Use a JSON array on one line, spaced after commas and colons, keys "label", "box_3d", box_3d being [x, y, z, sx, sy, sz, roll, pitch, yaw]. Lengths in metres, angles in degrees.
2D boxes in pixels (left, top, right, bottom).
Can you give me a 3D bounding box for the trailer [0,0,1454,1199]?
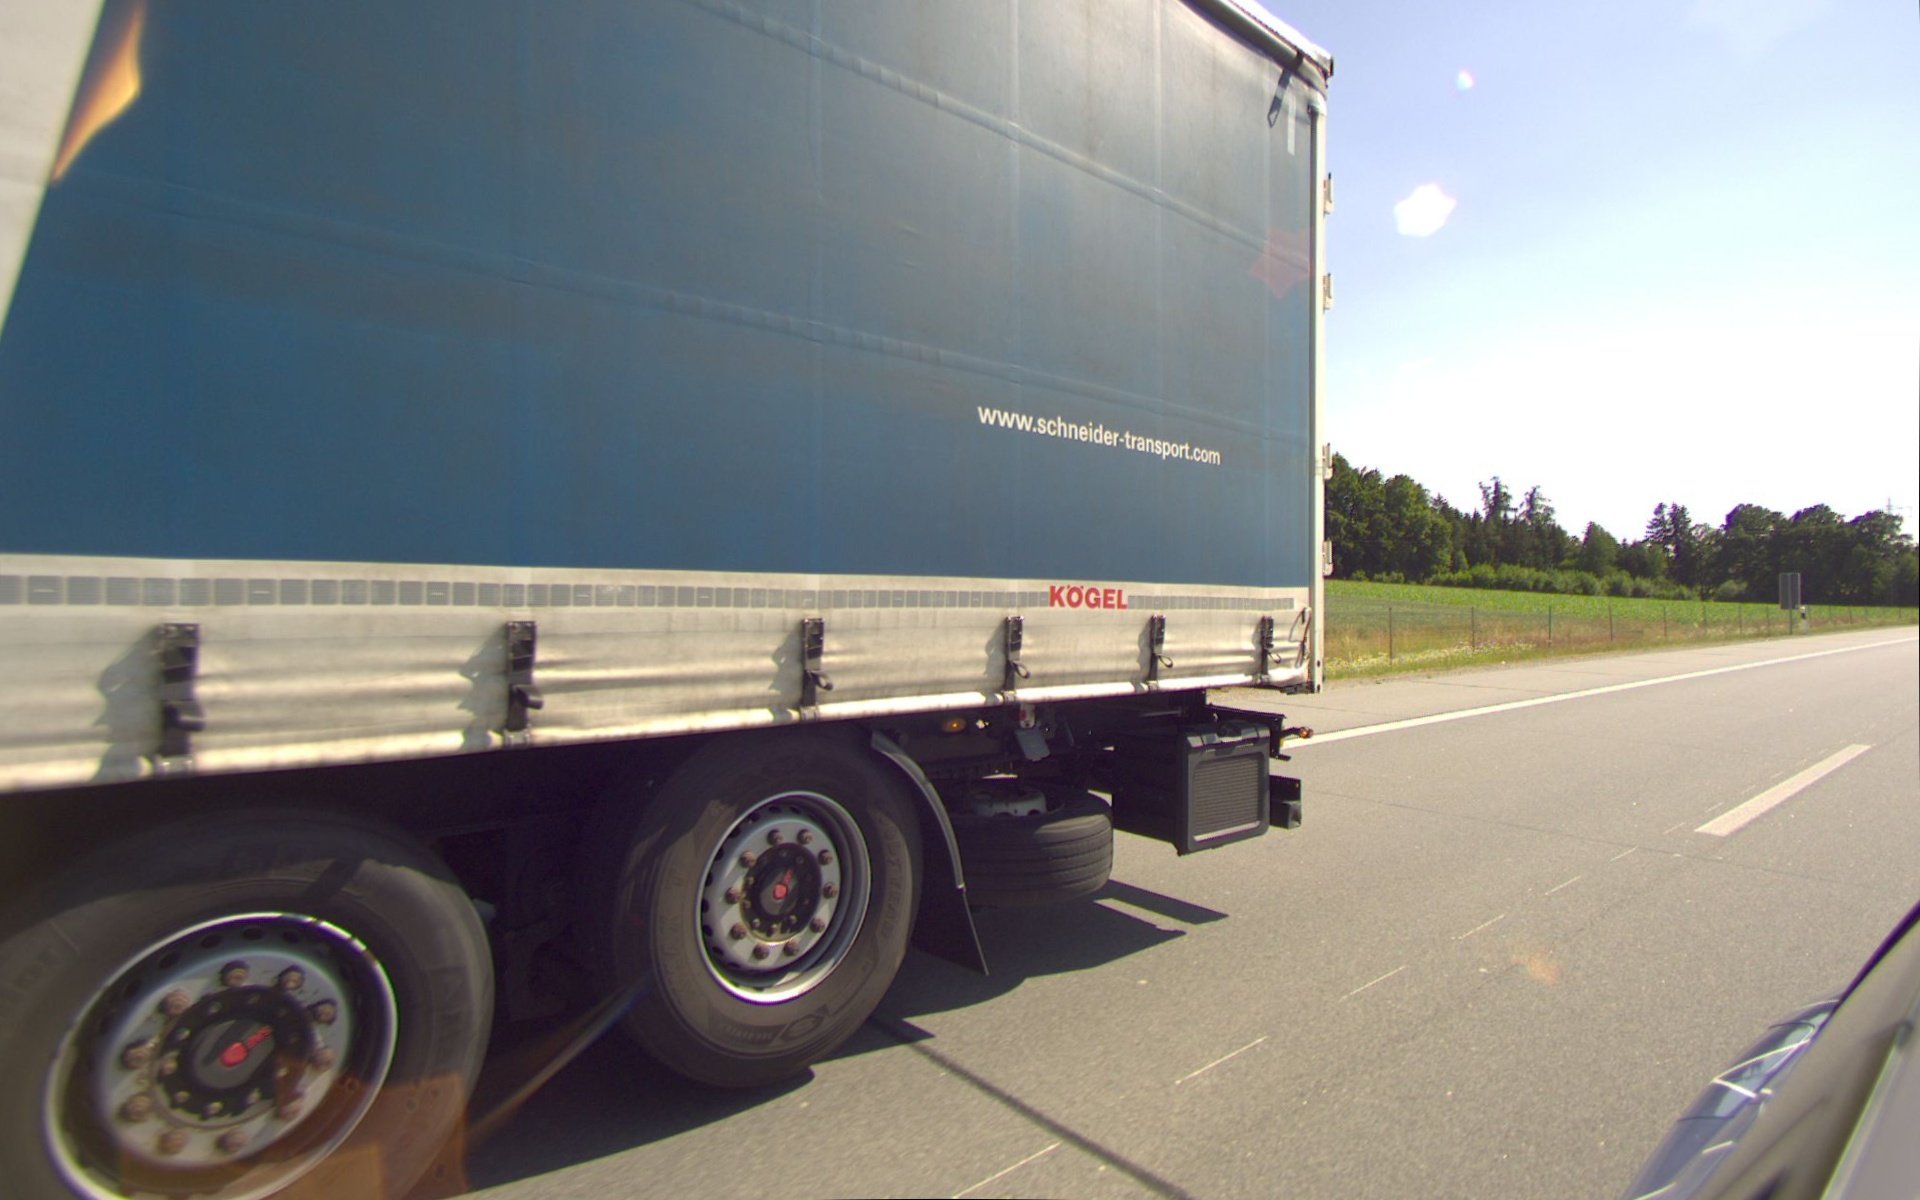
[{"label": "trailer", "box_3d": [-4.262, -0.788, 1.419, 15.188, 4.348, 3.182, 0, 0, -41]}]
